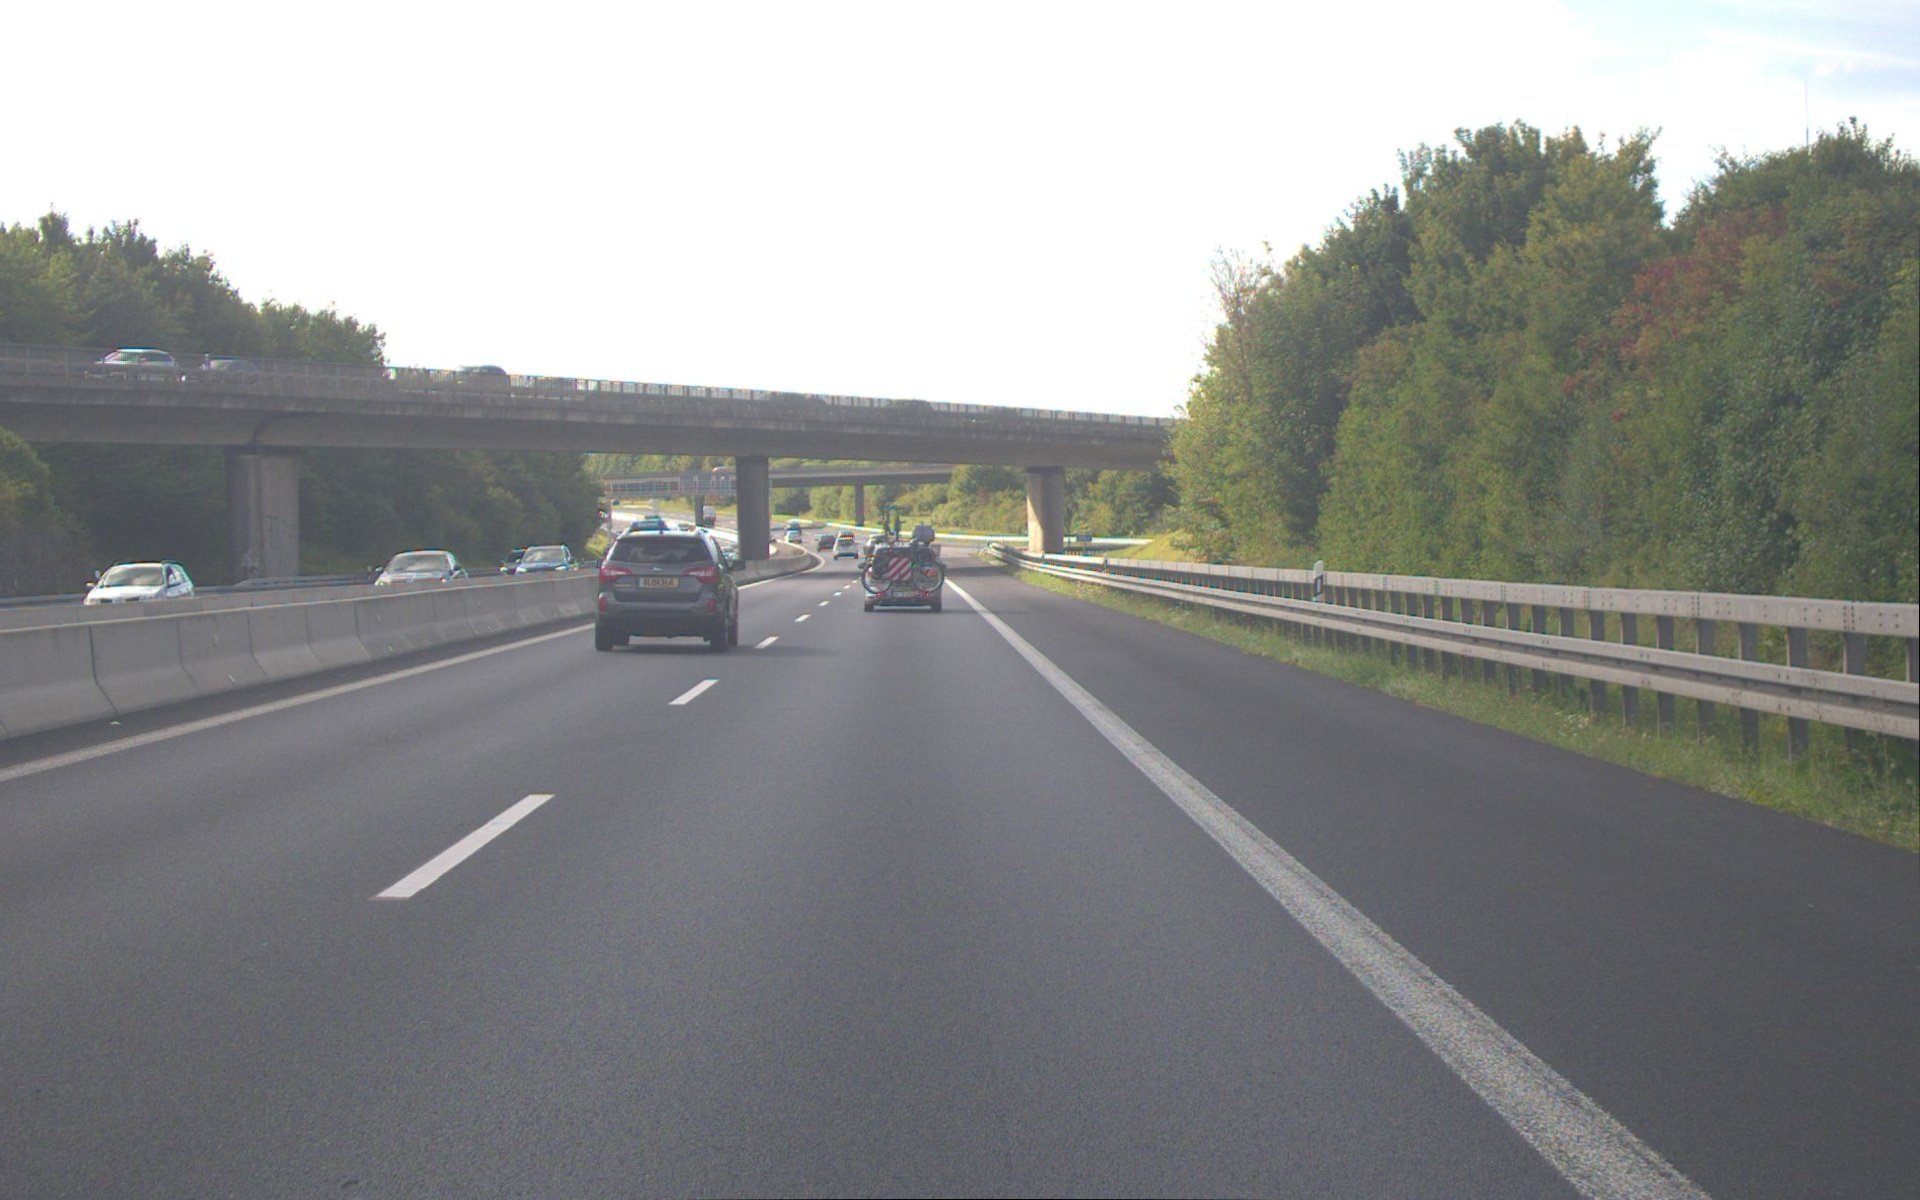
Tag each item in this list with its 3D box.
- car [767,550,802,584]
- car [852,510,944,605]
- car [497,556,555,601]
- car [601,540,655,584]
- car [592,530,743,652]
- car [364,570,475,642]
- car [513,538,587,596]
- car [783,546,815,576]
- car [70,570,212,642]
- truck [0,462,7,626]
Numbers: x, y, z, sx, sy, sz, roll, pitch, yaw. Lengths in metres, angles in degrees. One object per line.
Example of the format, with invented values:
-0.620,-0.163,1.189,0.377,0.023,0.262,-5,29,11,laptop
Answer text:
-10.933,-2.065,214.724,1.993,2.007,4.000,-2,1,-1,car
-1.404,-0.982,78.662,1.993,2.073,4.000,-2,1,0,car
-19.290,-0.964,153.030,1.993,1.890,4.823,-2,1,-1,car
-14.967,-1.709,155.177,1.993,1.890,5.189,-2,1,-1,car
-4.140,-0.149,49.129,1.750,1.624,3.609,-2,1,1,car
-13.437,0.129,85.766,1.993,1.642,5.196,-2,1,-1,car
-14.257,-1.162,119.741,1.993,1.890,5.141,-2,1,-1,car
-11.004,-2.665,235.228,1.993,2.007,4.000,-2,1,-1,car
-17.750,0.107,74.685,1.993,1.431,4.725,-2,1,-1,car
-12.818,-0.593,38.290,2.376,2.007,7.437,-2,1,-1,truck
